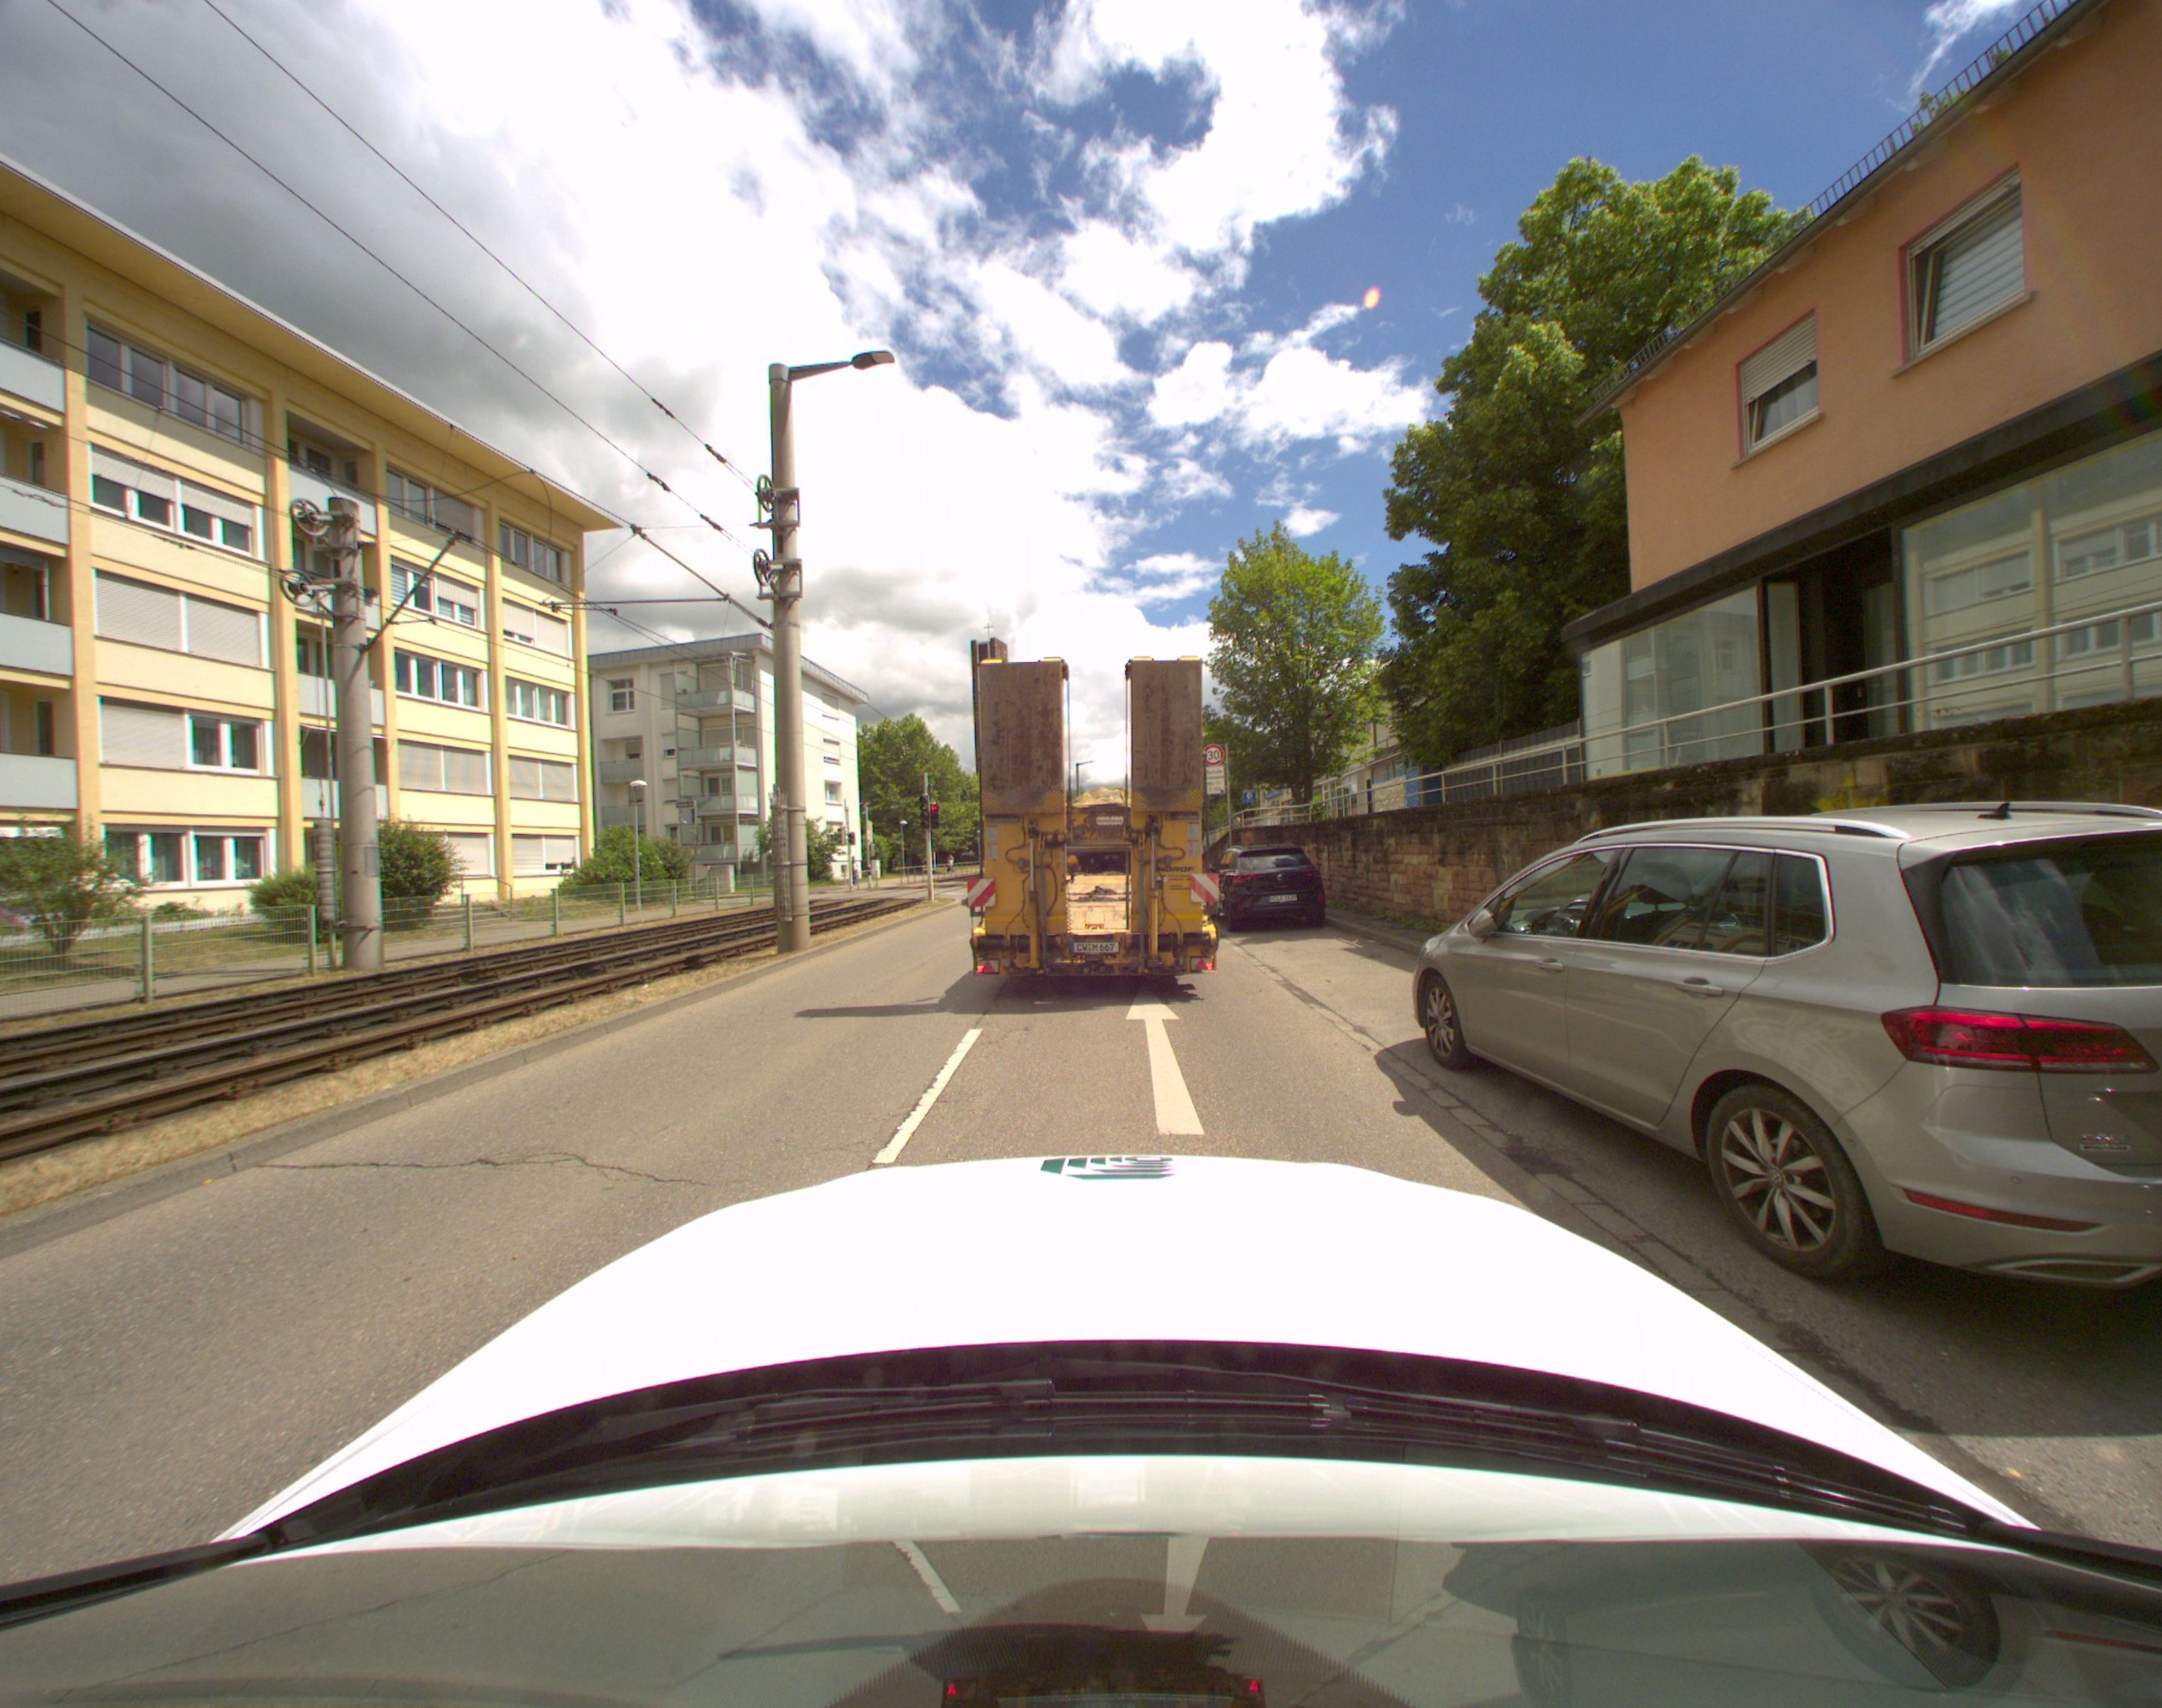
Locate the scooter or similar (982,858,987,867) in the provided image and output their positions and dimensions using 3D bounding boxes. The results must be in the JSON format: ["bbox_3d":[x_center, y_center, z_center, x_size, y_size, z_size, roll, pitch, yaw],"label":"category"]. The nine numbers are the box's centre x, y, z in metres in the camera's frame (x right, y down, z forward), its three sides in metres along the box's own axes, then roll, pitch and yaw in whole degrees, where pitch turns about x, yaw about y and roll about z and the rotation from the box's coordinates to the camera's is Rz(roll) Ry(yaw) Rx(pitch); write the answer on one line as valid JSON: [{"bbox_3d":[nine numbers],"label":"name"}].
[{"bbox_3d":[-10.422,0.926,87.872,0.504,0.971,0.646,0,0,1],"label":"scooter or similar"}]

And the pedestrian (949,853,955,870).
[{"bbox_3d":[-11.380,0.666,71.882,0.346,1.537,0.558,-2,0,5],"label":"pedestrian"}]

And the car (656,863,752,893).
[{"bbox_3d":[-19.198,1.220,41.530,3.963,1.345,1.906,-2,0,9],"label":"car"}]

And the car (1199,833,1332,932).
[{"bbox_3d":[3.517,0.491,16.240,1.843,1.639,4.003,-3,0,3],"label":"car"}]

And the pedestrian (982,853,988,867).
[{"bbox_3d":[-10.385,0.658,88.521,0.562,1.513,0.646,0,0,1],"label":"pedestrian"}]

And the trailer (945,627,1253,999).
[{"bbox_3d":[0.384,-0.425,12.452,2.933,3.601,8.690,-2,0,3],"label":"trailer"}]

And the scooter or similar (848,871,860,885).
[{"bbox_3d":[-12.567,1.335,45.094,0.435,0.747,0.475,-2,0,7],"label":"scooter or similar"}]

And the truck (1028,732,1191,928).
[{"bbox_3d":[0.632,-0.462,17.762,2.931,3.572,4.879,-2,0,2],"label":"truck"}]

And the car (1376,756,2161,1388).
[{"bbox_3d":[3.204,0.525,4.248,1.783,1.617,4.249,-3,0,1],"label":"car"}]

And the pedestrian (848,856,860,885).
[{"bbox_3d":[-12.711,0.918,45.591,0.435,1.580,0.475,-2,0,6],"label":"pedestrian"}]

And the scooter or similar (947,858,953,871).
[{"bbox_3d":[-11.439,0.900,71.237,0.336,1.057,0.688,-2,0,5],"label":"scooter or similar"}]
